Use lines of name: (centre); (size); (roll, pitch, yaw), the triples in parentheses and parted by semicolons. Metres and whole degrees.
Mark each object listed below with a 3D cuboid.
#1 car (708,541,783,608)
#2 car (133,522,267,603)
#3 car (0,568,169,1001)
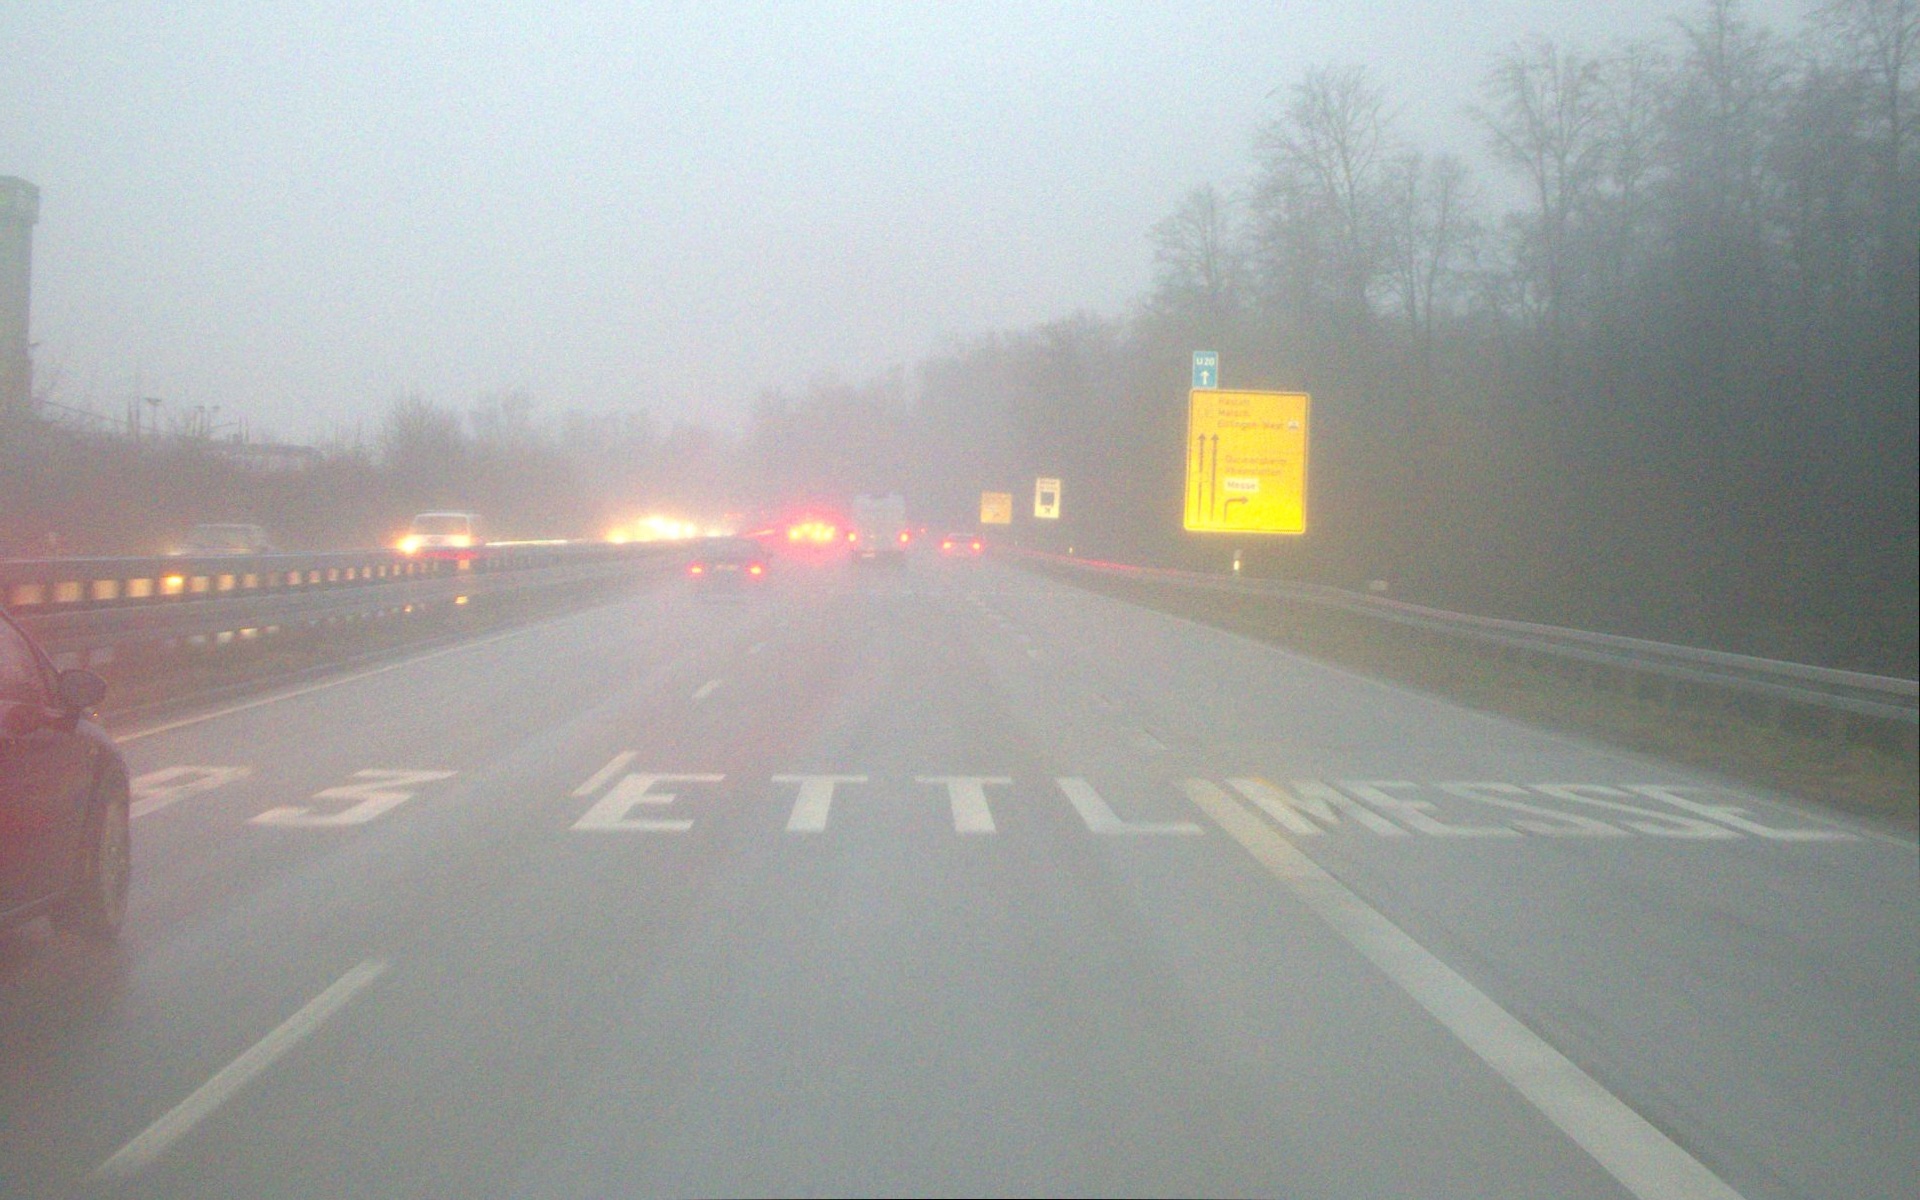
car: (-4.543, -0.554, 72.985); (1.416, 1.312, 3.083); (2, 1, -1)
car: (-14.894, -0.749, 67.513); (1.736, 1.503, 4.000); (2, 1, 0)
car: (-3.978, 0.590, 11.951); (1.625, 1.387, 4.000); (2, 1, -2)
